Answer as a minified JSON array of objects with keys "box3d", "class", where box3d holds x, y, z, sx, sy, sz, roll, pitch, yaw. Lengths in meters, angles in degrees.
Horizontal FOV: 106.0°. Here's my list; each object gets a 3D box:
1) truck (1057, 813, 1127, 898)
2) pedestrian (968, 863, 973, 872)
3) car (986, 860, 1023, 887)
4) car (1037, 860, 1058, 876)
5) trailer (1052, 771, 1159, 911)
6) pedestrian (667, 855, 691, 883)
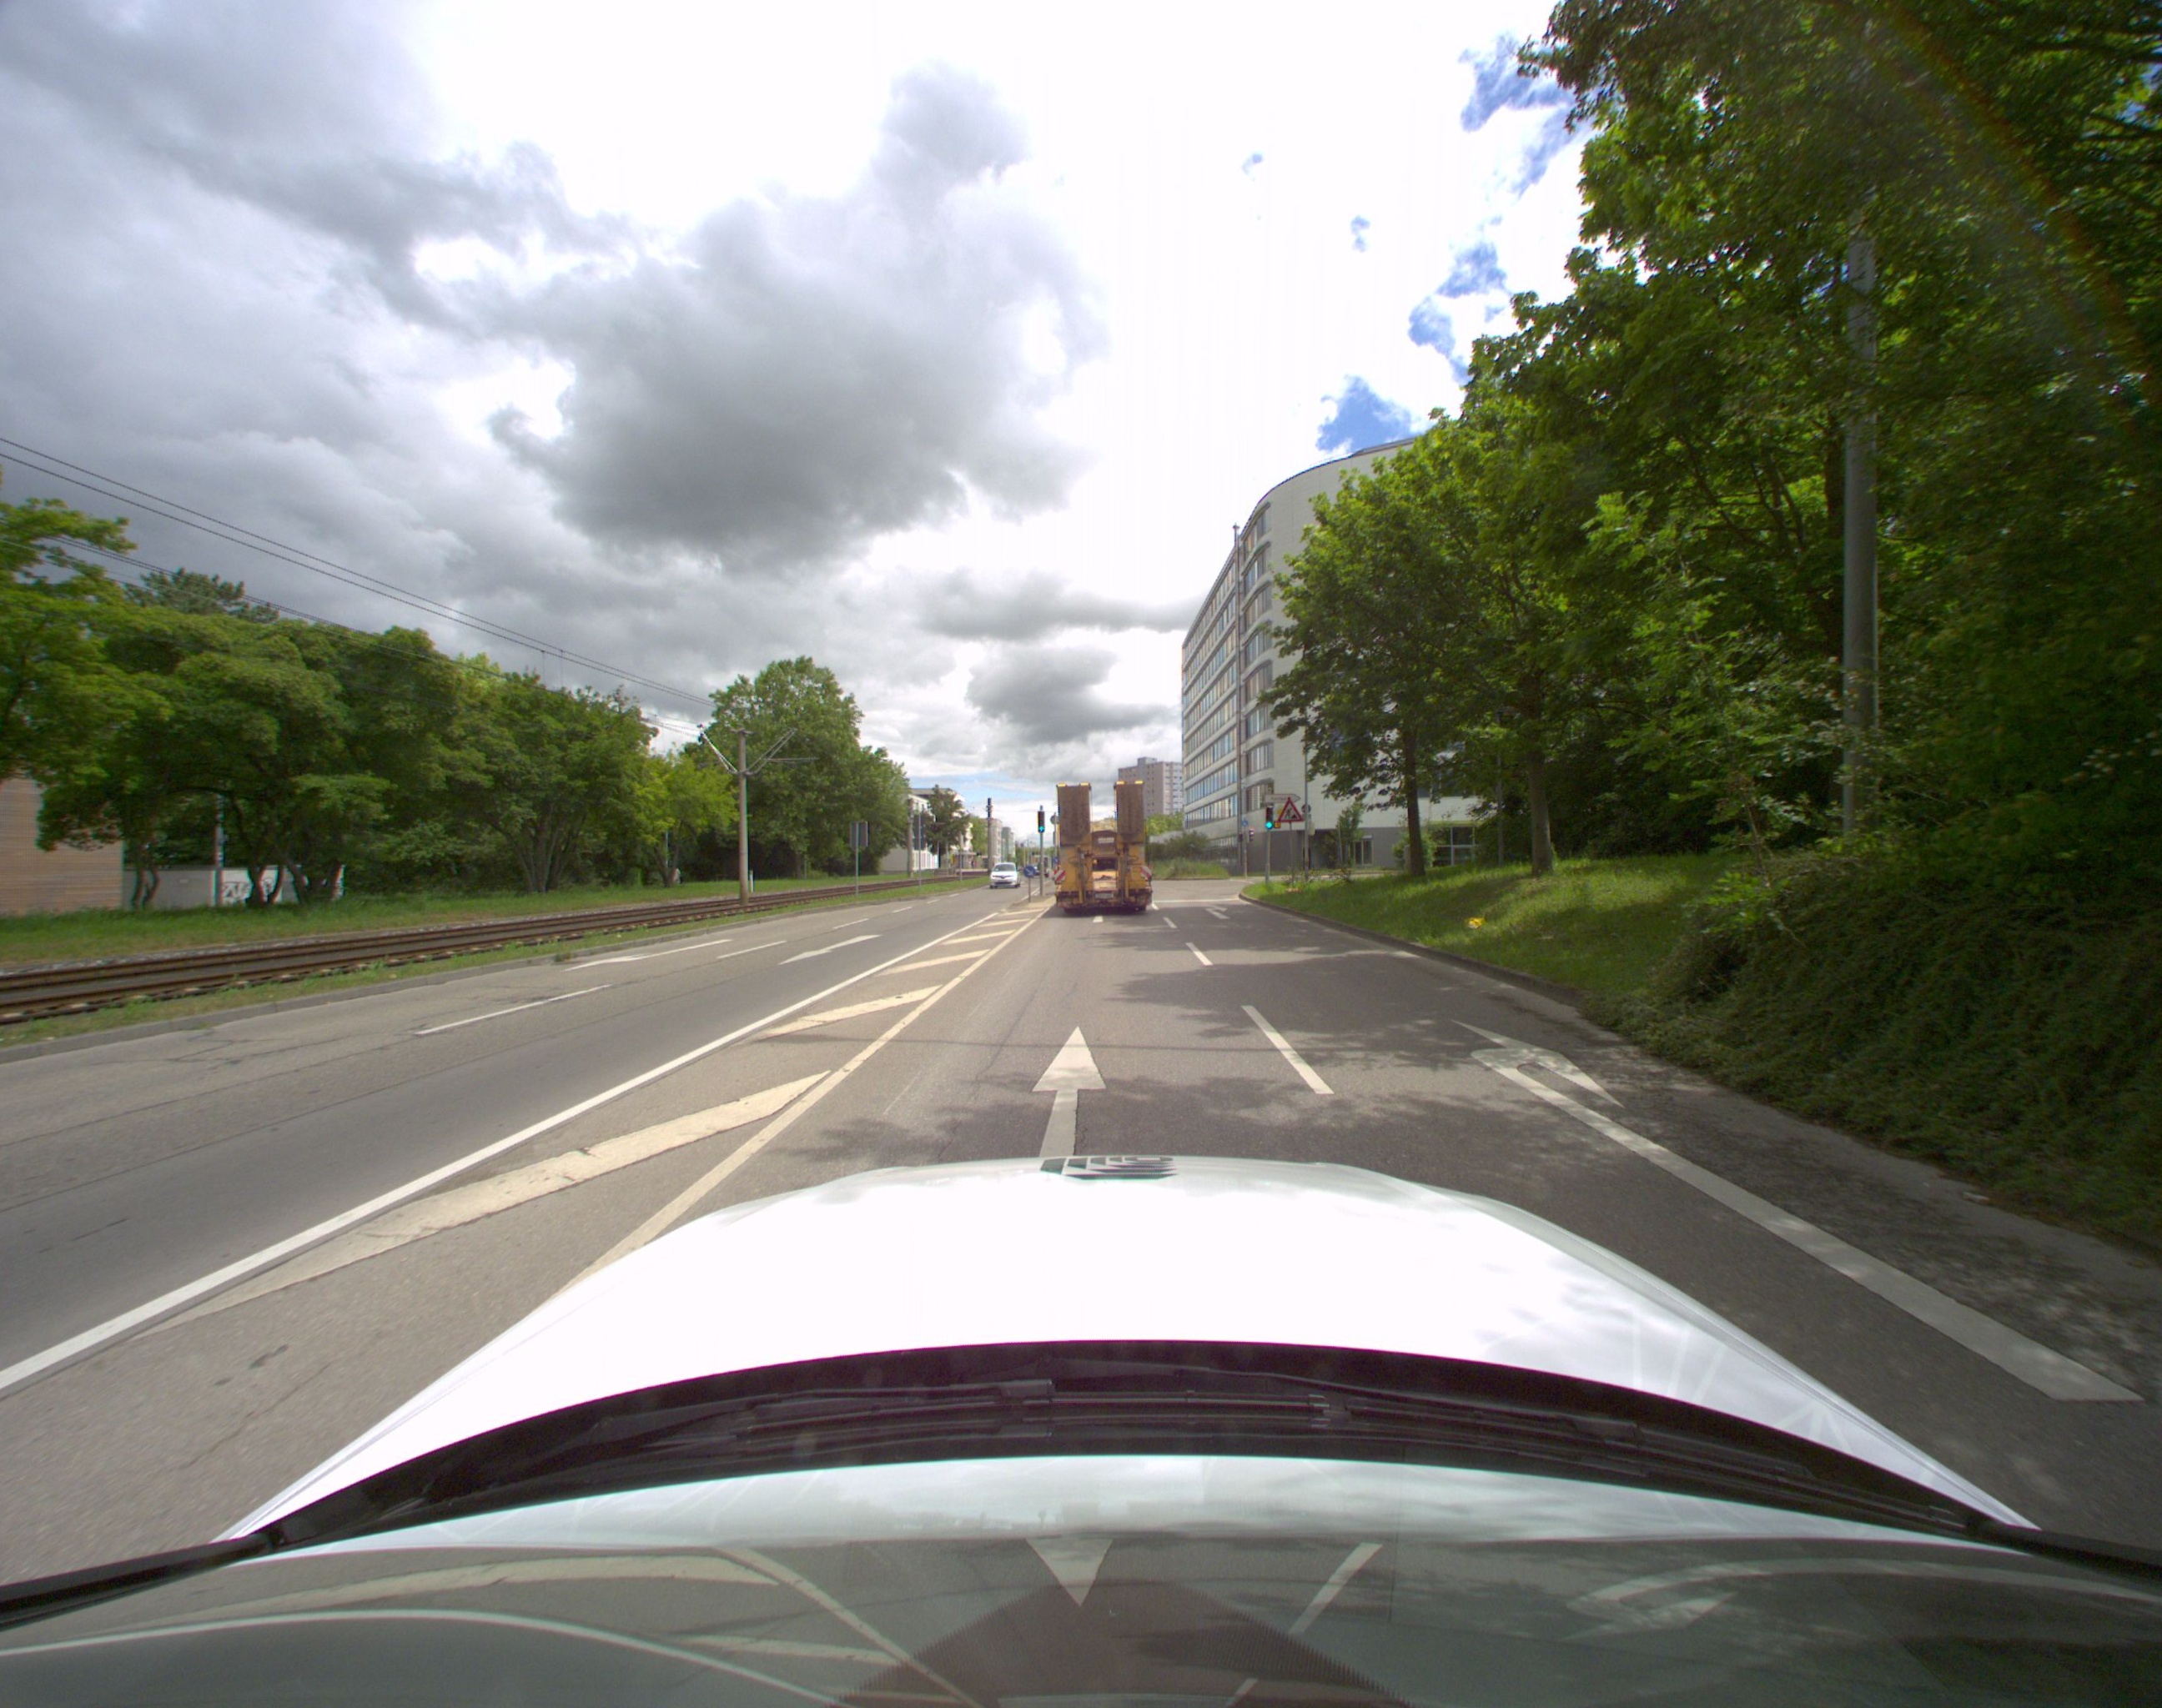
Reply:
[{"box3d":[0.446,0.138,36.243,2.744,3.313,8.349,0,-1,0],"class":"truck"},{"box3d":[-19.036,2.274,140.759,0.738,1.531,0.547,-1,-2,3],"class":"pedestrian"},{"box3d":[-4.615,1.187,49.799,1.722,1.612,4.265,-1,-1,2],"class":"car"},{"box3d":[-3.533,1.445,86.146,1.853,1.610,4.610,-1,0,2],"class":"car"},{"box3d":[0.558,-0.214,26.434,2.721,3.559,11.247,0,-1,-1],"class":"trailer"},{"box3d":[-28.936,1.076,58.680,1.030,1.934,1.363,-1,-1,1],"class":"pedestrian"}]
